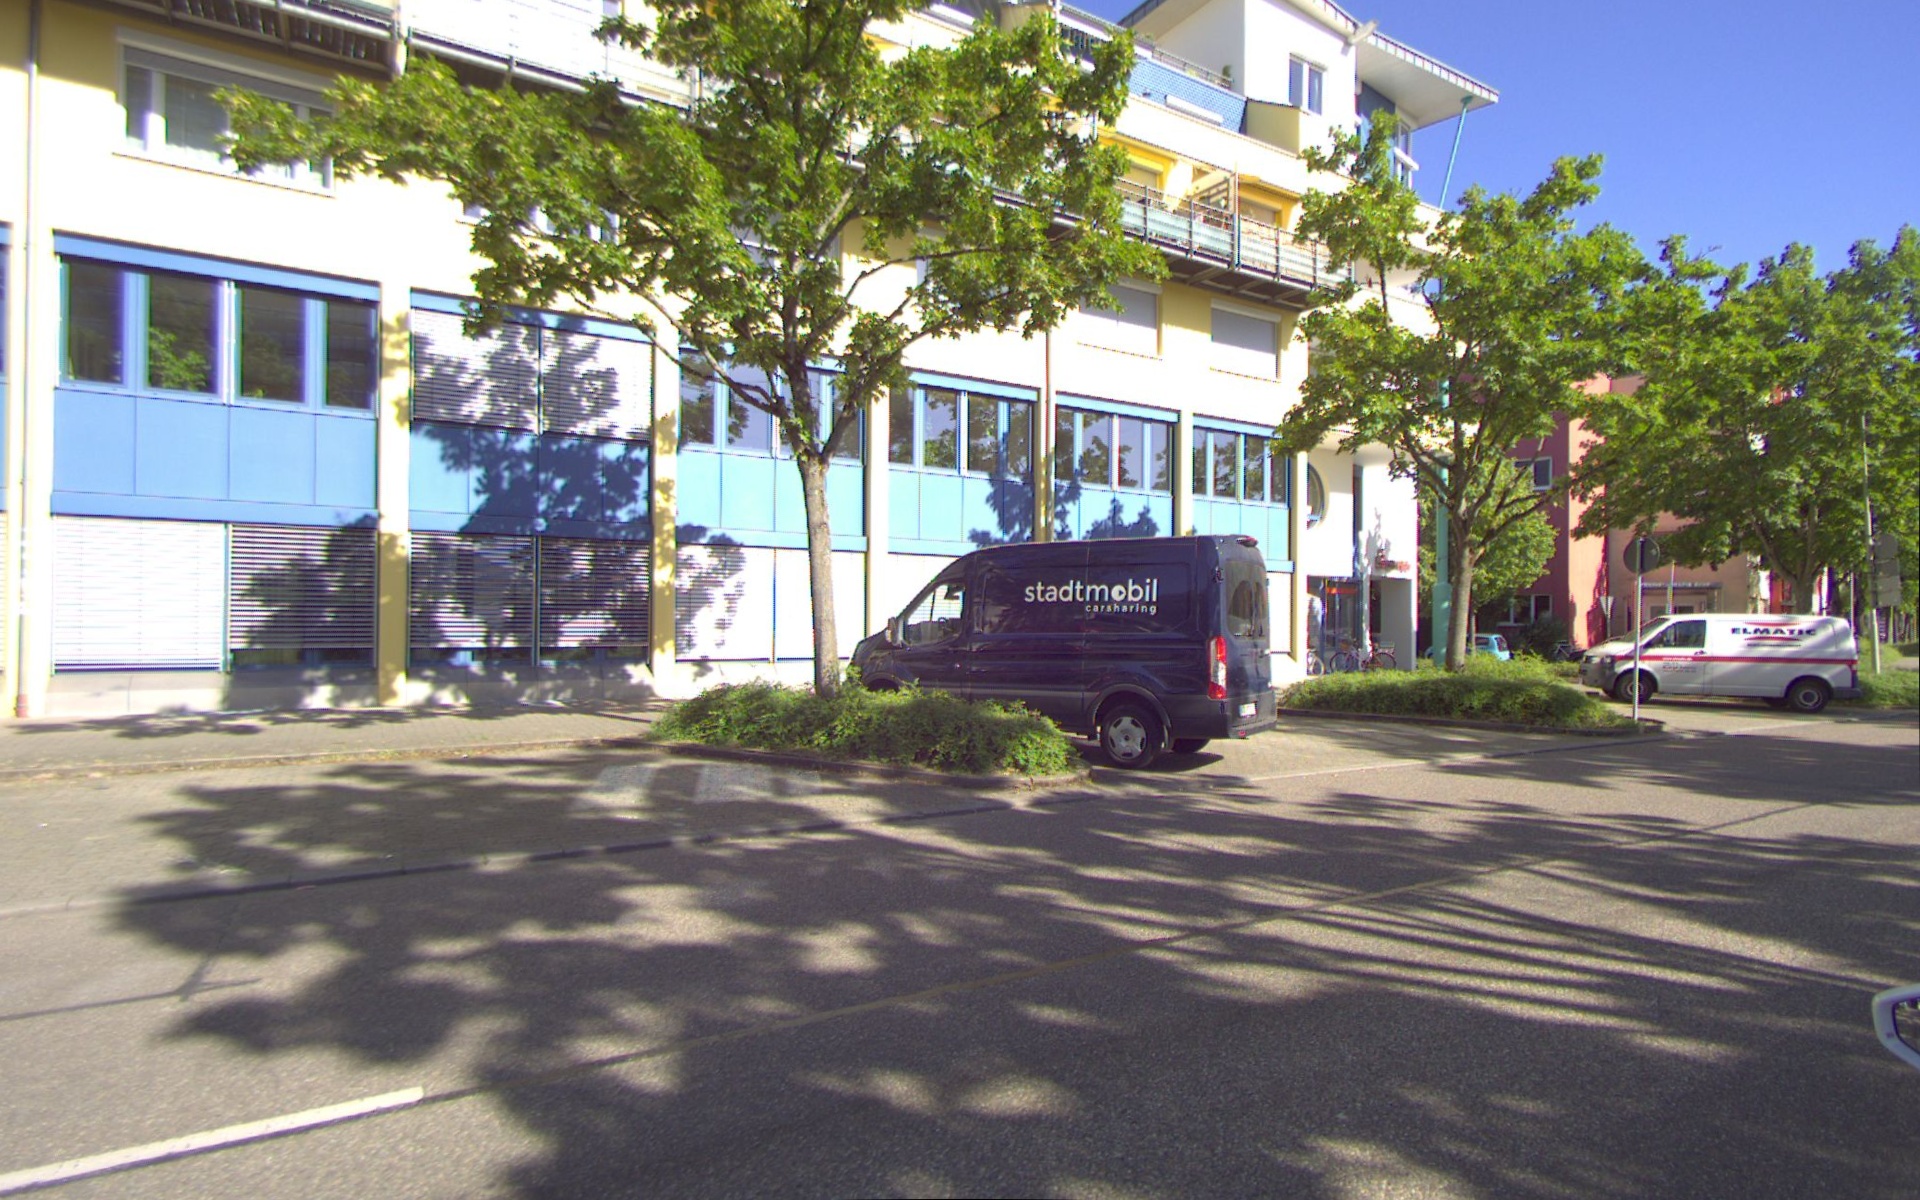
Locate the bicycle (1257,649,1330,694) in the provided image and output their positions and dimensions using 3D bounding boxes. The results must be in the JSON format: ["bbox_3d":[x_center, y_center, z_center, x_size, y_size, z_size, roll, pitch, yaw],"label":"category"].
[{"bbox_3d":[8.637,1.839,26.099,0.694,1.112,1.789,1,-3,-30],"label":"bicycle"}]

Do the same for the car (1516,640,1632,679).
[{"bbox_3d":[26.406,2.525,43.300,1.791,1.466,3.944,-1,0,-44],"label":"car"}]

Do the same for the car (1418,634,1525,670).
[{"bbox_3d":[23.543,2.378,46.306,1.923,1.470,3.956,-1,0,-44],"label":"car"}]

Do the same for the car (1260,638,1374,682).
[{"bbox_3d":[15.267,2.520,43.105,1.987,1.615,4.193,1,0,-44],"label":"car"}]

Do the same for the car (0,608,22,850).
[{"bbox_3d":[-8.113,0.768,6.656,4.161,1.495,1.766,1,0,32],"label":"car"}]

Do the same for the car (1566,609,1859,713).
[{"bbox_3d":[16.030,1.230,21.750,4.678,2.011,1.999,1,0,22],"label":"car"}]

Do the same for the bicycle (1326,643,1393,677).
[{"bbox_3d":[11.641,1.738,29.292,1.770,0.883,0.491,1,-1,26],"label":"bicycle"}]

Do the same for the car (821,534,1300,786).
[{"bbox_3d":[1.089,0.570,12.243,5.411,2.469,2.180,1,0,33],"label":"car"}]
